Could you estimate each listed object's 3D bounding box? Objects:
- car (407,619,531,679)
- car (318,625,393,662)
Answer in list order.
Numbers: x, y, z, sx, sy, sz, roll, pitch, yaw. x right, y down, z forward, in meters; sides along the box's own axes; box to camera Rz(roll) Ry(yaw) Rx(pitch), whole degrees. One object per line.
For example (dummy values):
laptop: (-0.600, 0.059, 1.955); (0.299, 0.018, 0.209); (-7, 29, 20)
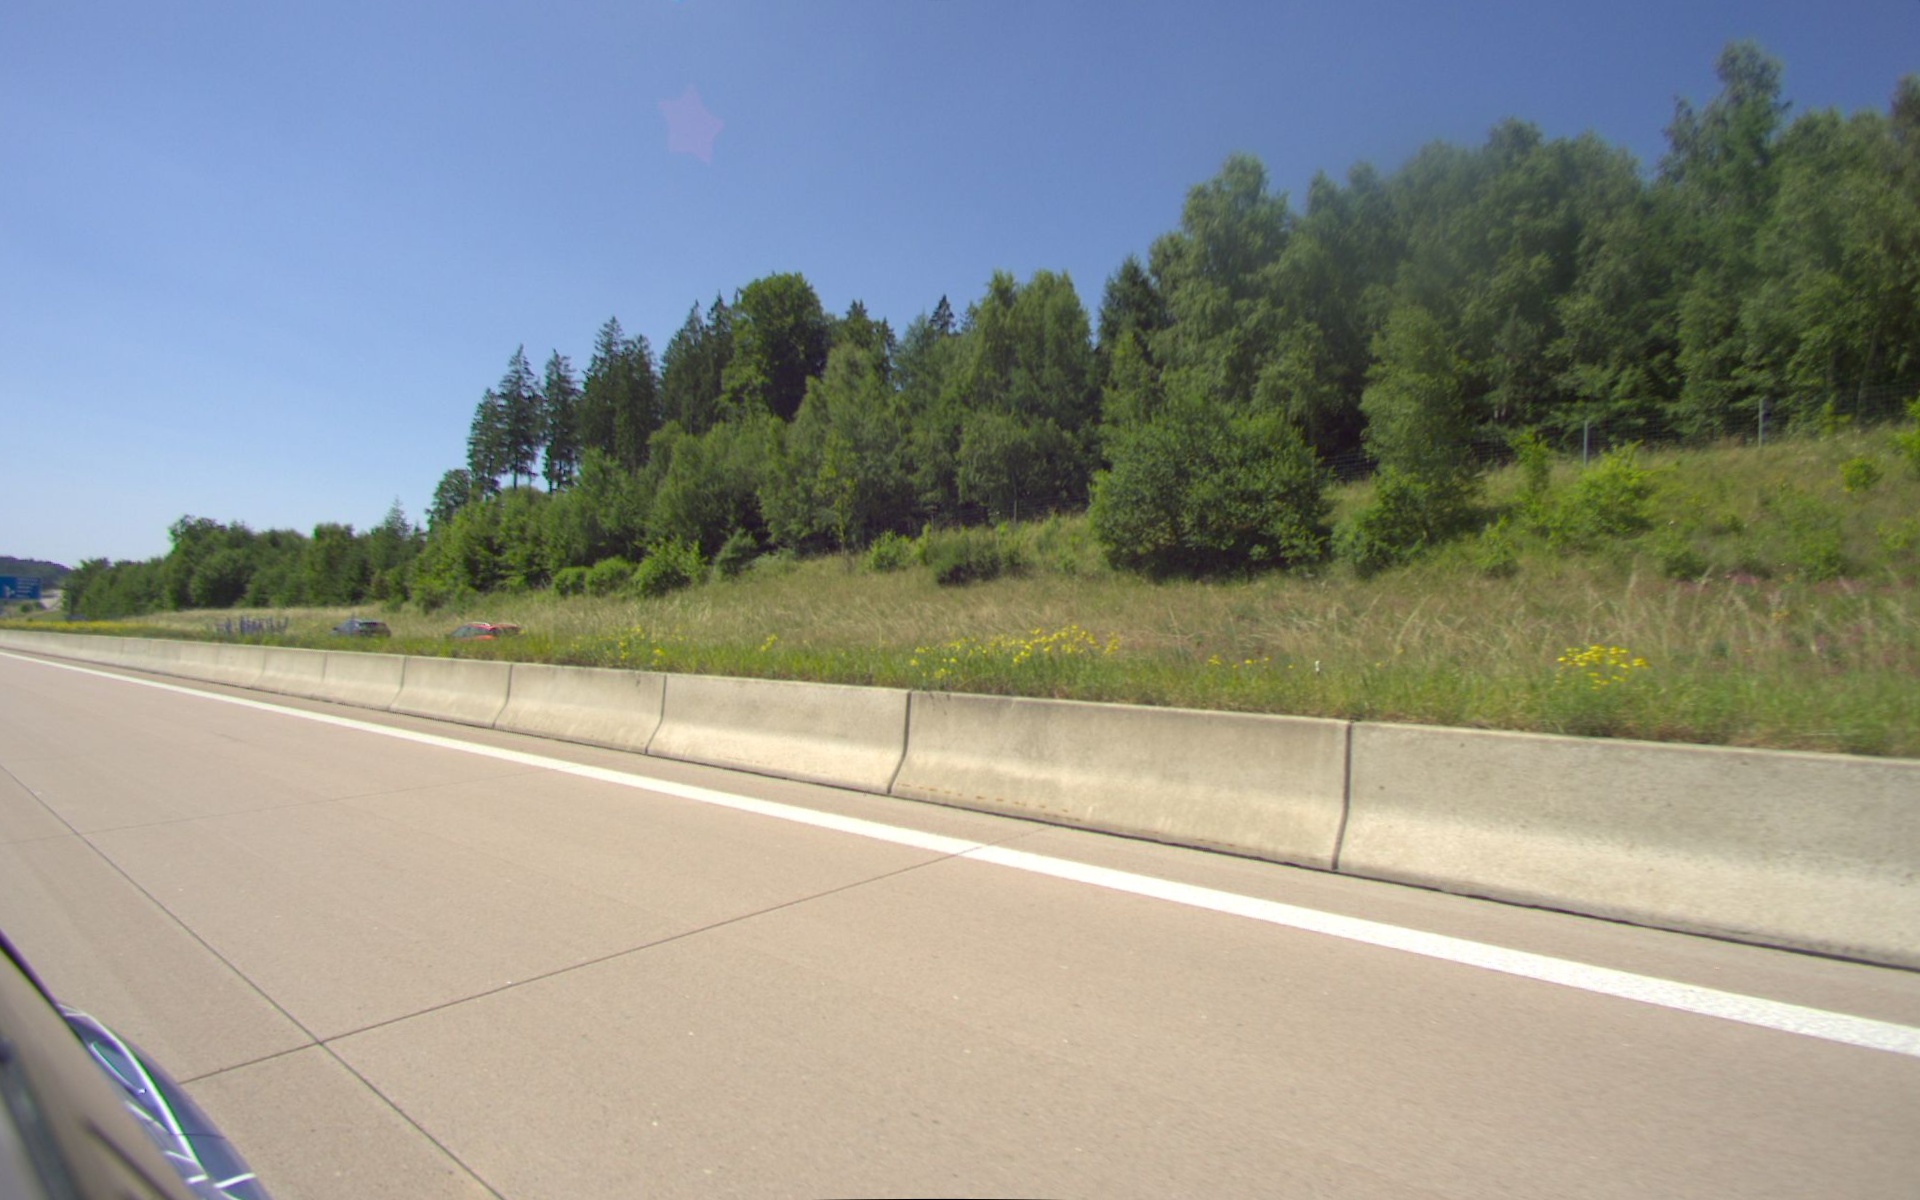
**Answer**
car: (-15.674, 1.518, 32.211); (4.459, 1.752, 1.872); (-2, -1, 39)
car: (-30.650, 2.163, 51.262); (4.459, 1.752, 1.872); (-1, -1, 39)
